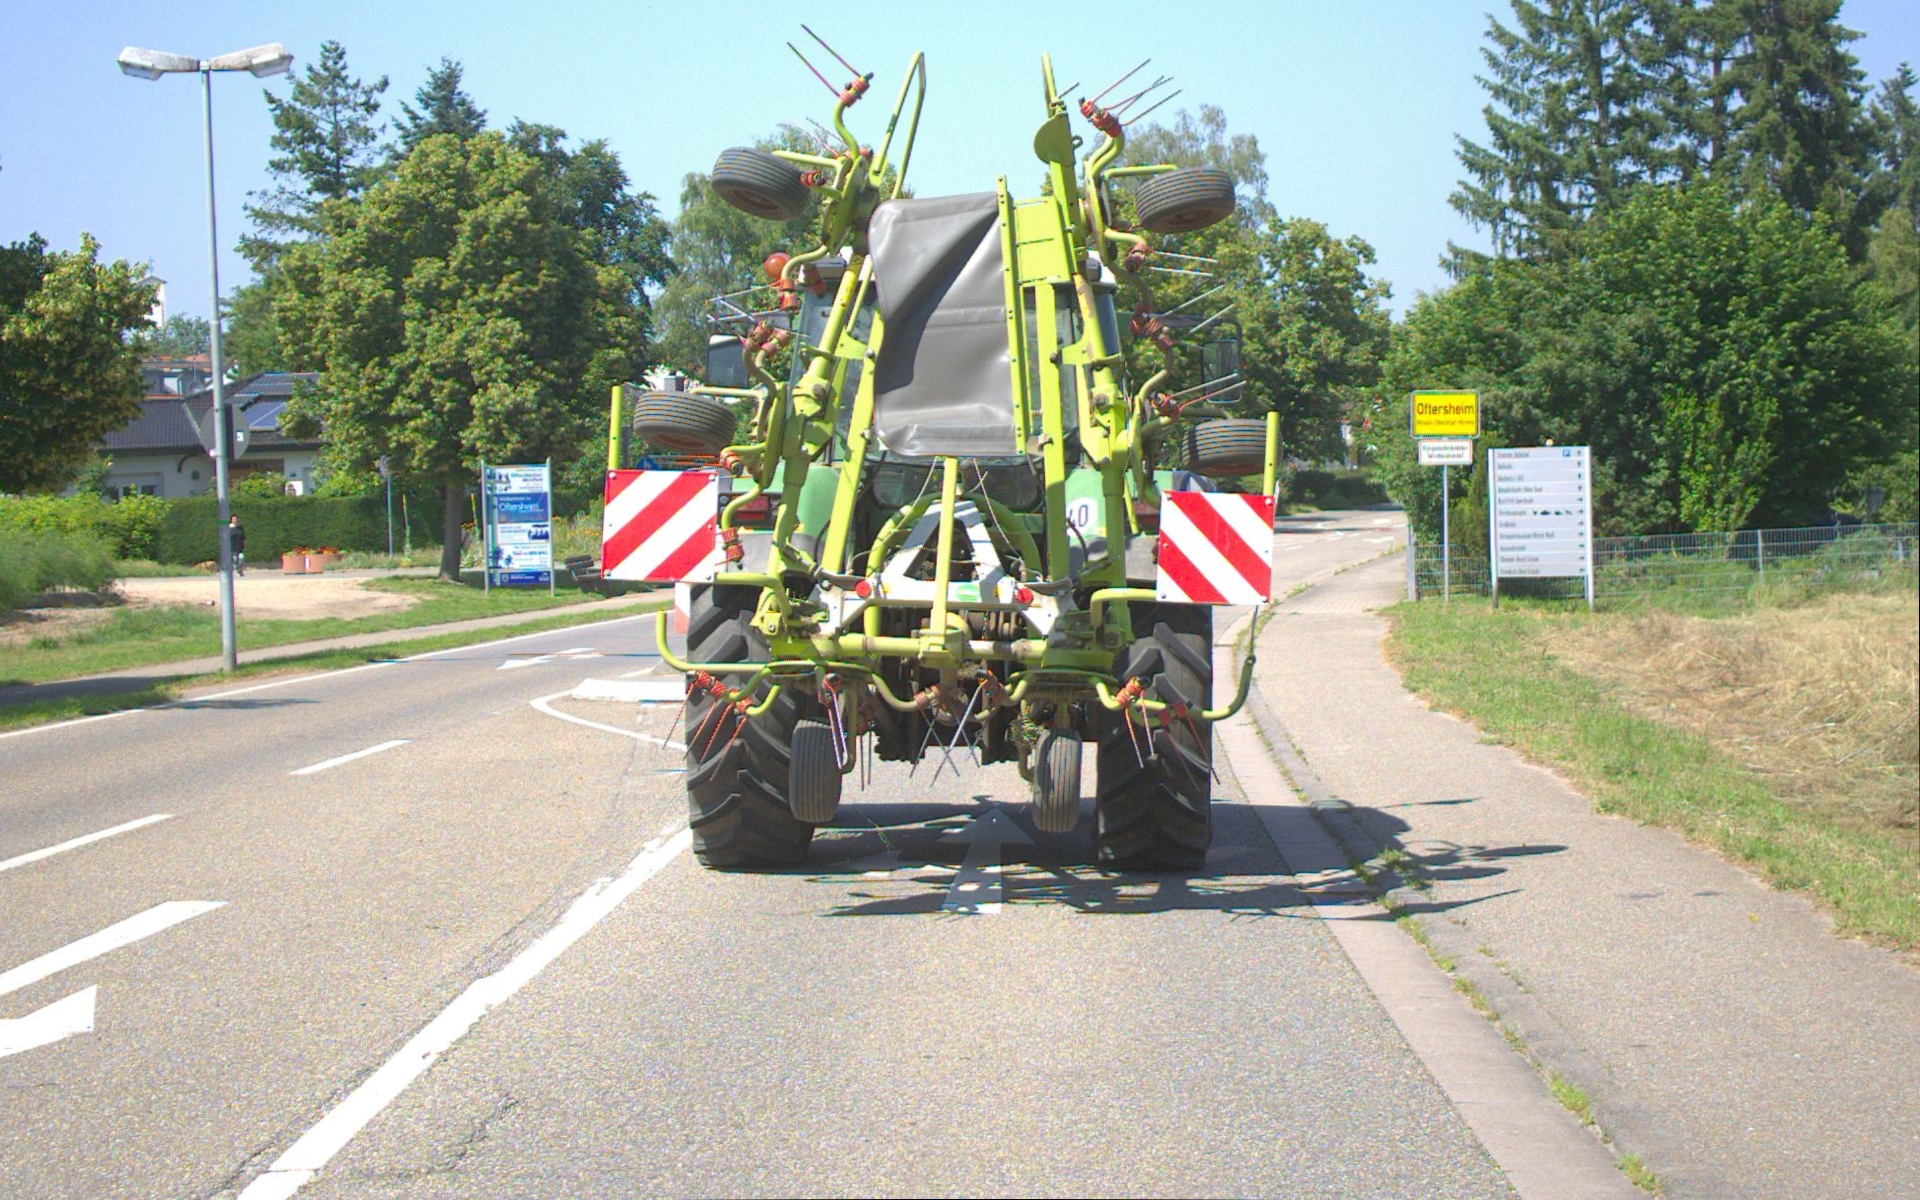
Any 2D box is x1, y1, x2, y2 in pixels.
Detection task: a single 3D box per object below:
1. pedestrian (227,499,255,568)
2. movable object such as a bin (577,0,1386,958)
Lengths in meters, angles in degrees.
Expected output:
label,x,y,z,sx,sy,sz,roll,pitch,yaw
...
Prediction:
label,x,y,z,sx,sy,sz,roll,pitch,yaw
pedestrian,-18.190,-1.668,87.008,0.549,1.711,0.676,1,-2,-22
movable object such as a bin,0.054,-0.684,17.330,2.853,3.529,9.702,1,2,0
